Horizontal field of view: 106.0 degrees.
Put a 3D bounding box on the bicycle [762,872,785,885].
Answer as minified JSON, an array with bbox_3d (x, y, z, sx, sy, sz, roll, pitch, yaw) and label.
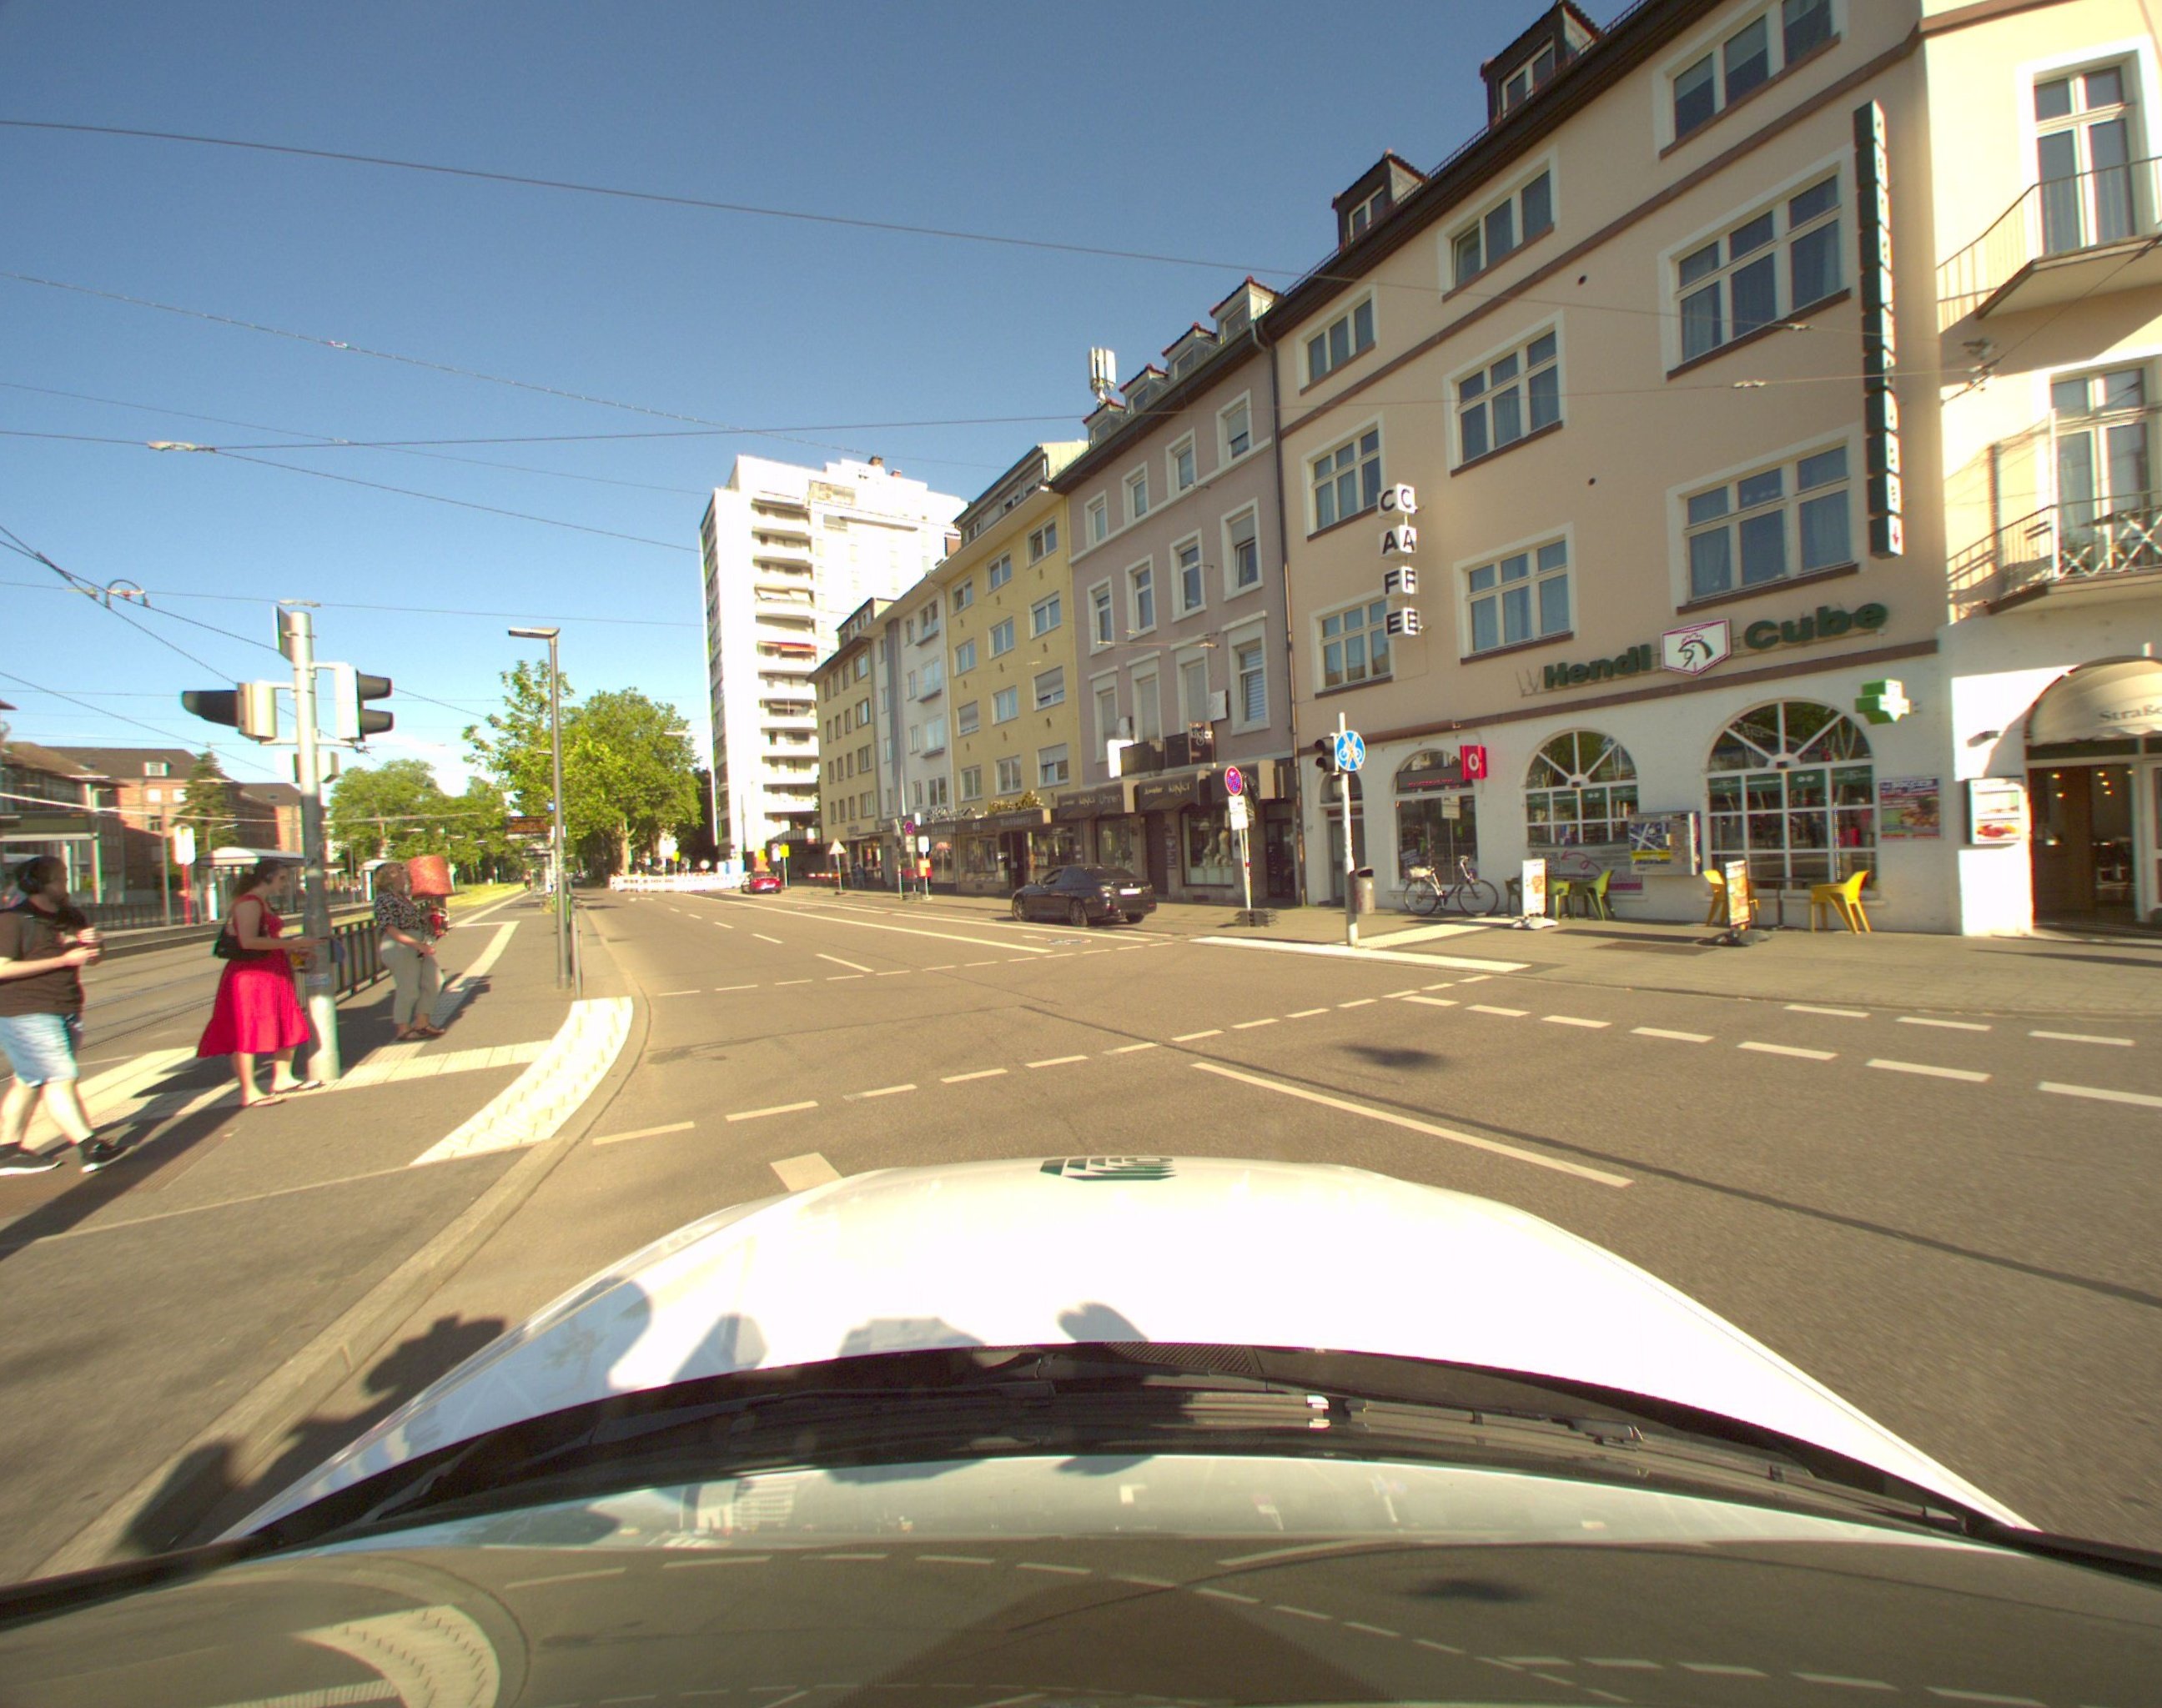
[{"bbox_3d":[-28.660,2.245,75.898,1.947,1.067,0.580,-3,0,-17],"label":"bicycle"}]

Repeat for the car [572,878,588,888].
[{"bbox_3d":[-80.693,4.622,131.122,1.983,1.509,3.957,-3,0,-34],"label":"car"}]

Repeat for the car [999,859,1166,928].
[{"bbox_3d":[-0.093,0.920,20.176,1.752,1.439,4.604,-3,0,-35],"label":"car"}]

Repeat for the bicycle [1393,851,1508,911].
[{"bbox_3d":[7.154,0.530,15.858,0.586,1.067,1.926,-4,0,-39],"label":"bicycle"}]

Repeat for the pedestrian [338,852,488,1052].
[{"bbox_3d":[-6.306,0.874,7.749,0.824,1.733,0.783,-3,0,-23],"label":"pedestrian"}]

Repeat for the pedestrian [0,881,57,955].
[{"bbox_3d":[-23.523,1.412,18.088,0.594,1.568,0.728,-3,0,-12],"label":"pedestrian"}]

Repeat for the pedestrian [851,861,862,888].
[{"bbox_3d":[-13.899,1.252,50.317,0.473,1.644,0.503,-3,0,-31],"label":"pedestrian"}]

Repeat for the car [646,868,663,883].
[{"bbox_3d":[-61.106,3.062,116.748,2.005,2.013,3.965,-3,0,-27],"label":"car"}]

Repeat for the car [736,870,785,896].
[{"bbox_3d":[-20.065,1.800,50.863,1.950,1.430,3.956,-3,0,-35],"label":"car"}]

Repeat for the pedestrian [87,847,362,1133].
[{"bbox_3d":[-5.768,0.845,5.569,0.903,1.733,0.837,-3,0,-13],"label":"pedestrian"}]

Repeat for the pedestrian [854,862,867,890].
[{"bbox_3d":[-12.733,1.273,47.043,0.509,1.562,0.461,-3,0,-30],"label":"pedestrian"}]

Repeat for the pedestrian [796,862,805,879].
[{"bbox_3d":[-28.361,1.679,82.349,0.679,1.641,0.573,-4,1,-26],"label":"pedestrian"}]

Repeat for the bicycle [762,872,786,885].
[{"bbox_3d":[-28.315,2.272,75.193,1.947,1.067,0.580,-3,0,-17],"label":"bicycle"}]

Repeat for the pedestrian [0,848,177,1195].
[{"bbox_3d":[-5.628,0.862,4.422,0.805,1.733,0.646,-3,0,-40],"label":"pedestrian"}]
